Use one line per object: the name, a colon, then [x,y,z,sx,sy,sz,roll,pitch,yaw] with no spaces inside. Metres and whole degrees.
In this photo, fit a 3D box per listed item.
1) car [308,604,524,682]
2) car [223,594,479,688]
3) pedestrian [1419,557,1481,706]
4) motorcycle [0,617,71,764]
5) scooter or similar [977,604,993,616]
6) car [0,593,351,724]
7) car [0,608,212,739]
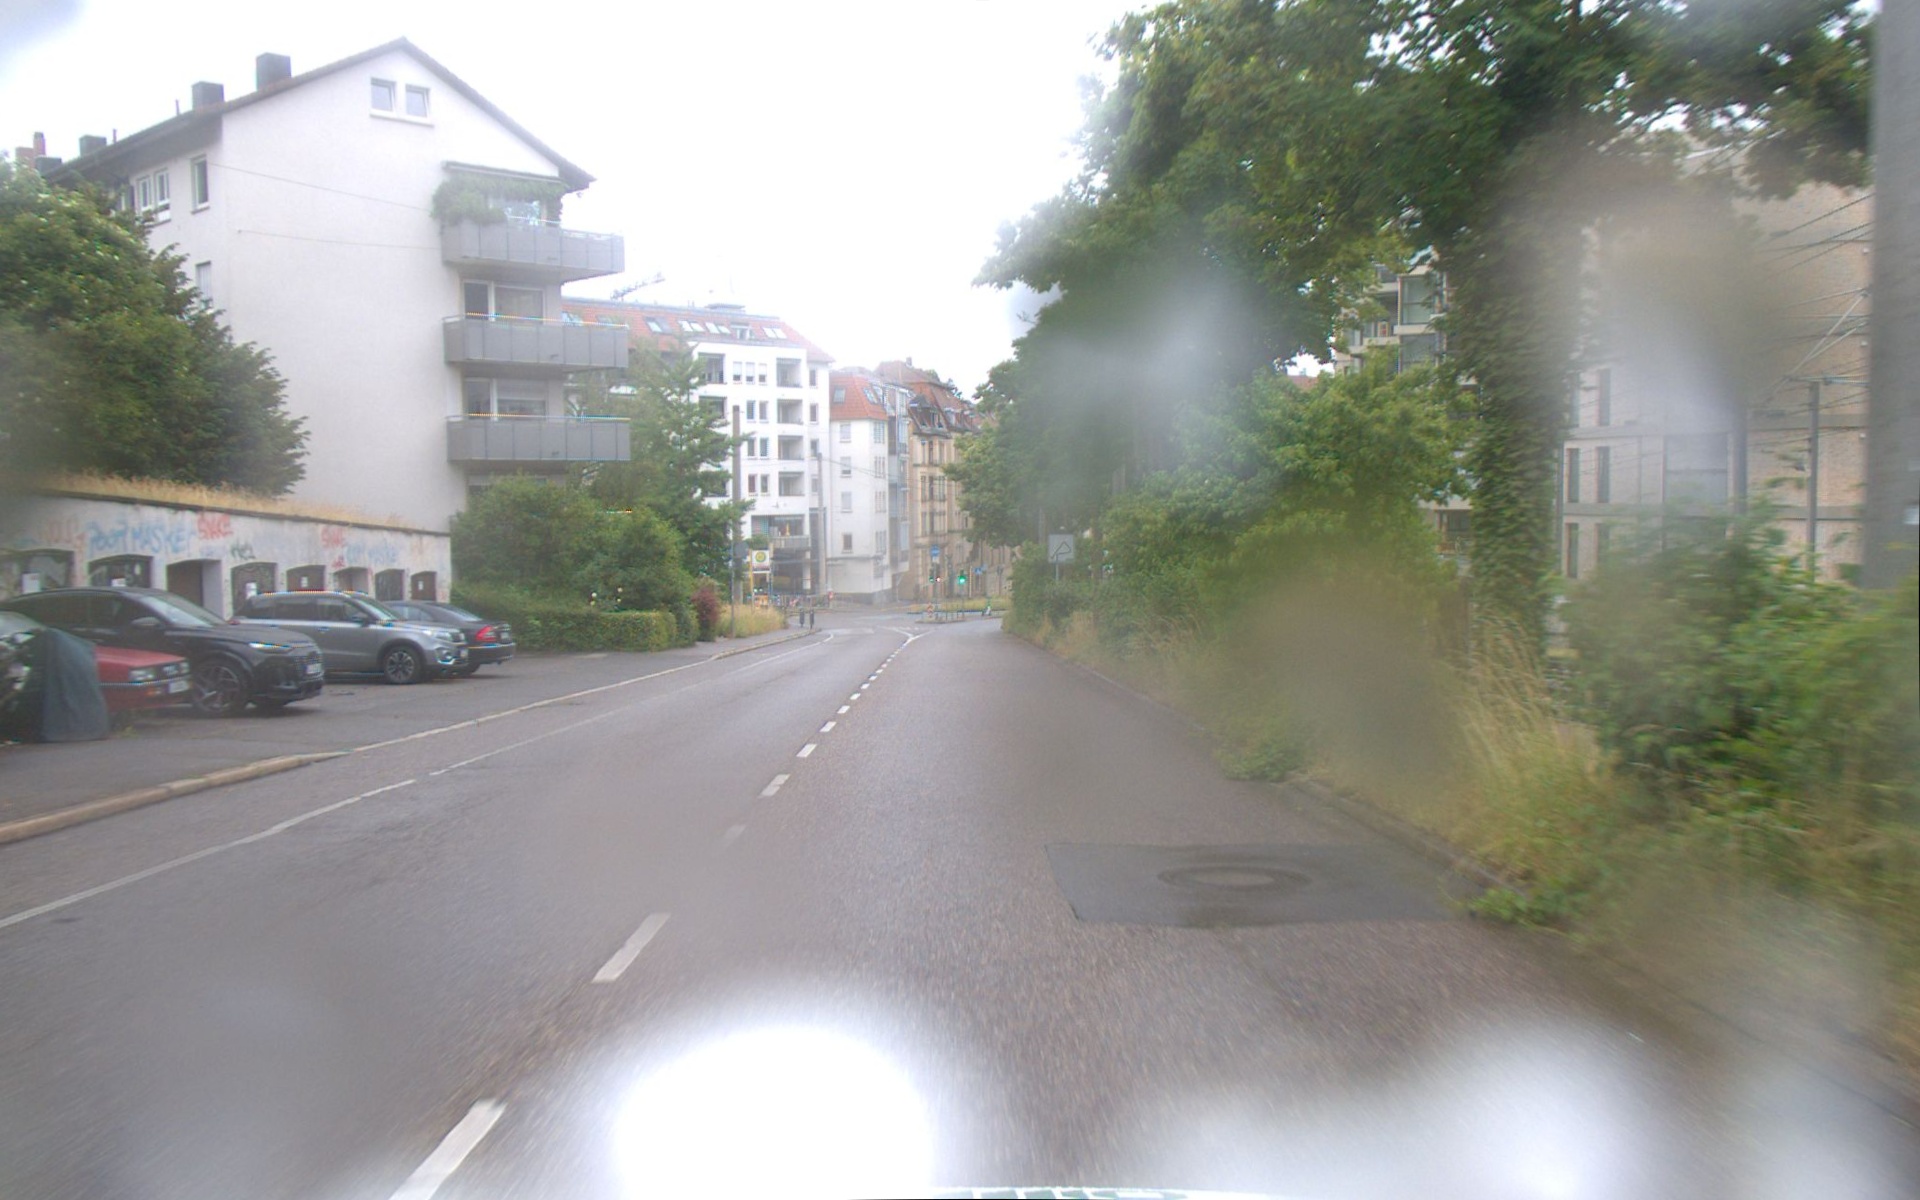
car: [-10.448,0.807,31.929,3.556,1.432,1.784,0,-1,1]
car: [-10.777,0.713,29.511,3.909,1.587,1.878,0,-1,-5]
pedestrian: [5.760,0.360,19.457,0.551,1.717,0.524,-1,0,-2]
motorcycle: [-9.250,0.843,15.889,0.606,1.343,2.313,0,-1,-12]
scooter or similar: [1.593,0.647,105.493,0.475,0.775,1.328,-1,0,27]
car: [-10.578,0.740,21.862,4.359,1.630,1.814,0,0,-2]
car: [-10.762,0.826,19.037,3.562,1.430,1.714,0,-1,-7]
